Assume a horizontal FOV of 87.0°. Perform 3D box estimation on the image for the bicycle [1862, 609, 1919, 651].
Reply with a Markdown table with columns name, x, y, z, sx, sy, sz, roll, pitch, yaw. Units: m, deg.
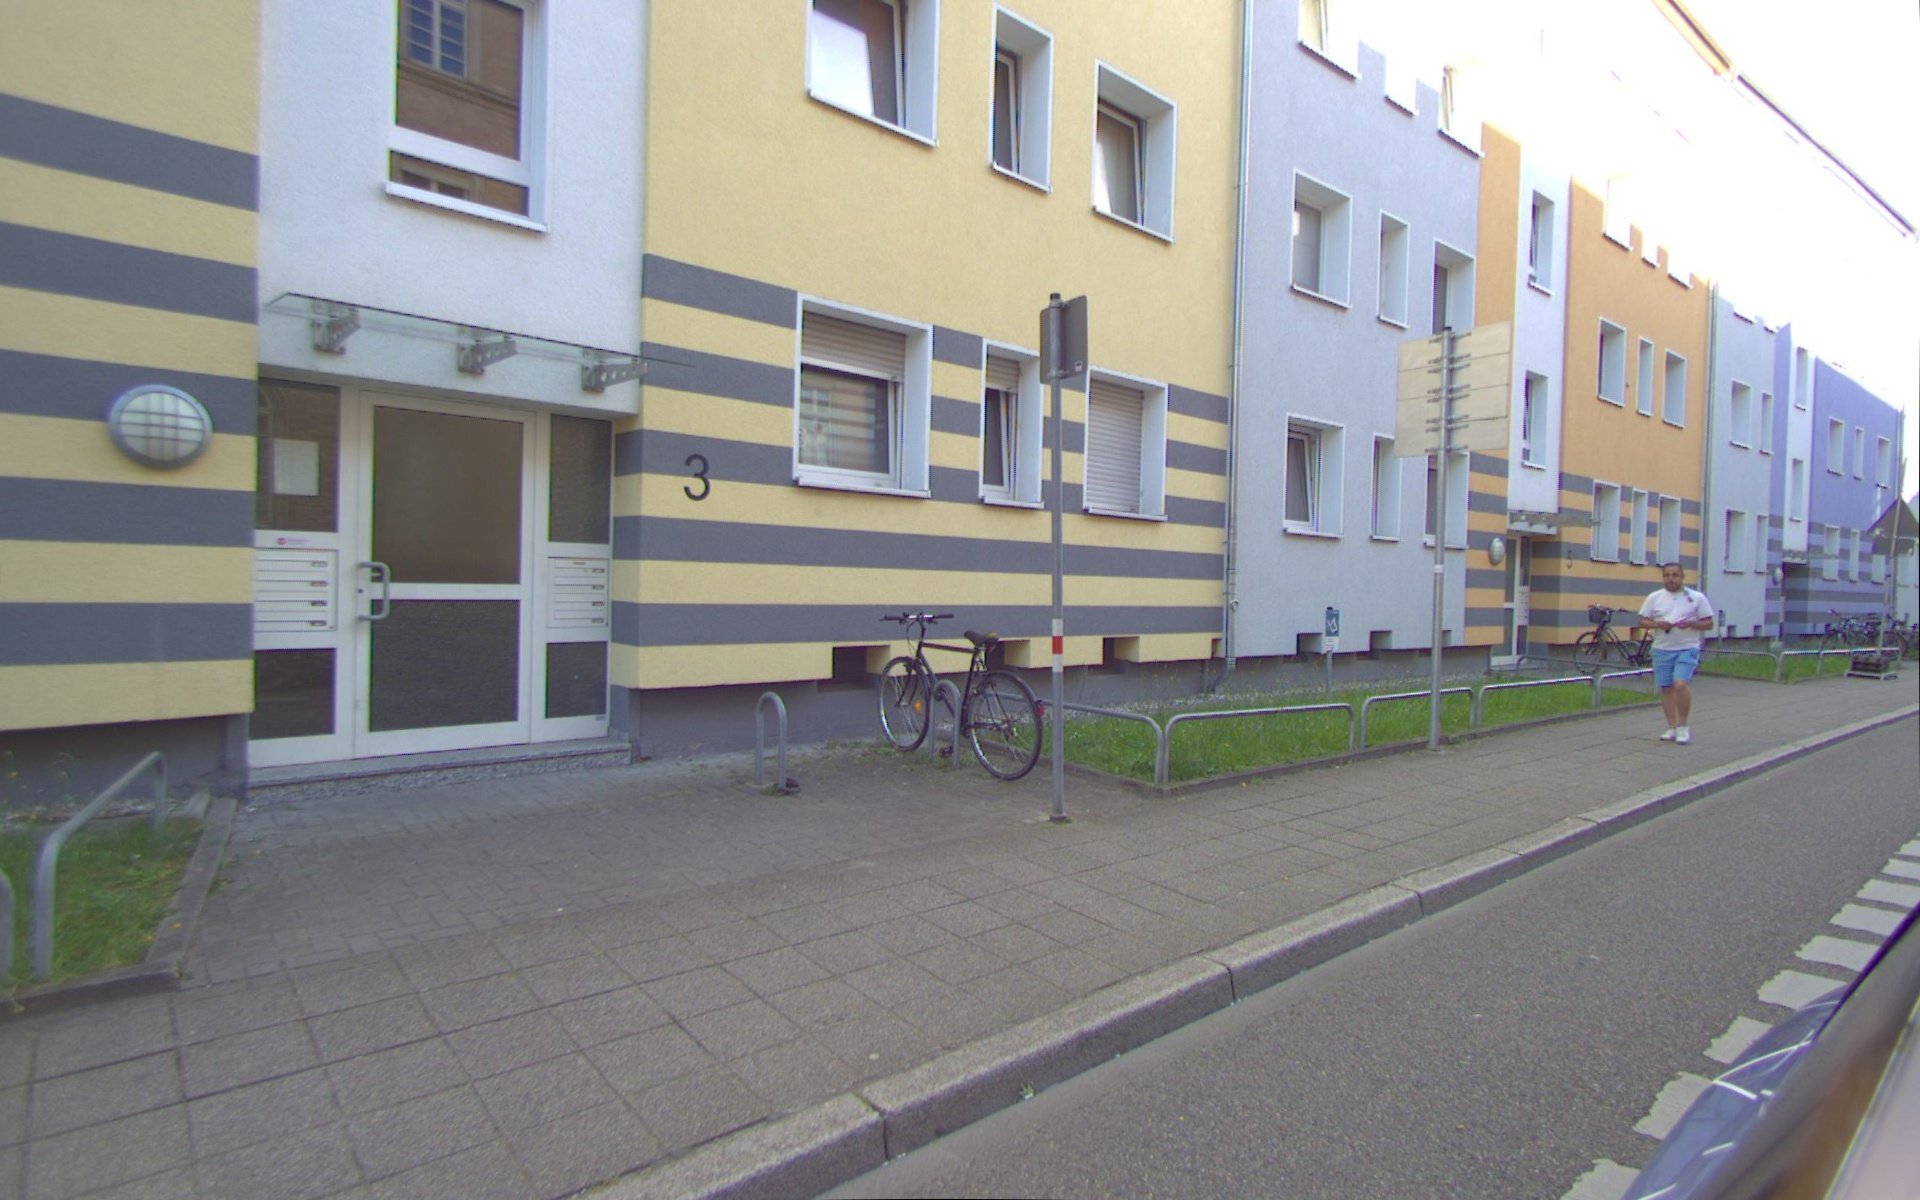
| name | x | y | z | sx | sy | sz | roll | pitch | yaw |
| --- | --- | --- | --- | --- | --- | --- | --- | --- | --- |
| bicycle | 24.094 | 0.775 | 25.609 | 0.572 | 0.950 | 1.779 | 1 | 3 | -33 |

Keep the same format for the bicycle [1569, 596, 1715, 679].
| name | x | y | z | sx | sy | sz | roll | pitch | yaw |
| --- | --- | --- | --- | --- | --- | --- | --- | --- | --- |
| bicycle | 10.728 | 0.557 | 15.976 | 0.574 | 1.138 | 1.775 | 0 | 4 | -42 |

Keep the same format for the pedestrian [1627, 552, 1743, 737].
| name | x | y | z | sx | sy | sz | roll | pitch | yaw |
| --- | --- | --- | --- | --- | --- | --- | --- | --- | --- |
| pedestrian | 6.995 | 0.399 | 9.763 | 0.819 | 1.692 | 0.644 | 1 | 2 | -39 |

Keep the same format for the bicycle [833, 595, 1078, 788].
| name | x | y | z | sx | sy | sz | roll | pitch | yaw |
| --- | --- | --- | --- | --- | --- | --- | --- | --- | --- |
| bicycle | -0.087 | 0.550 | 6.956 | 1.773 | 1.061 | 0.574 | 5 | 4 | 45 |

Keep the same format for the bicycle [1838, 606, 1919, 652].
| name | x | y | z | sx | sy | sz | roll | pitch | yaw |
| --- | --- | --- | --- | --- | --- | --- | --- | --- | --- |
| bicycle | 23.392 | 0.719 | 25.501 | 0.572 | 1.007 | 1.779 | 1 | 3 | -33 |

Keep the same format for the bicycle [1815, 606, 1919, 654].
| name | x | y | z | sx | sy | sz | roll | pitch | yaw |
| --- | --- | --- | --- | --- | --- | --- | --- | --- | --- |
| bicycle | 22.228 | 0.716 | 24.832 | 0.572 | 1.007 | 1.779 | 1 | 3 | -33 |
